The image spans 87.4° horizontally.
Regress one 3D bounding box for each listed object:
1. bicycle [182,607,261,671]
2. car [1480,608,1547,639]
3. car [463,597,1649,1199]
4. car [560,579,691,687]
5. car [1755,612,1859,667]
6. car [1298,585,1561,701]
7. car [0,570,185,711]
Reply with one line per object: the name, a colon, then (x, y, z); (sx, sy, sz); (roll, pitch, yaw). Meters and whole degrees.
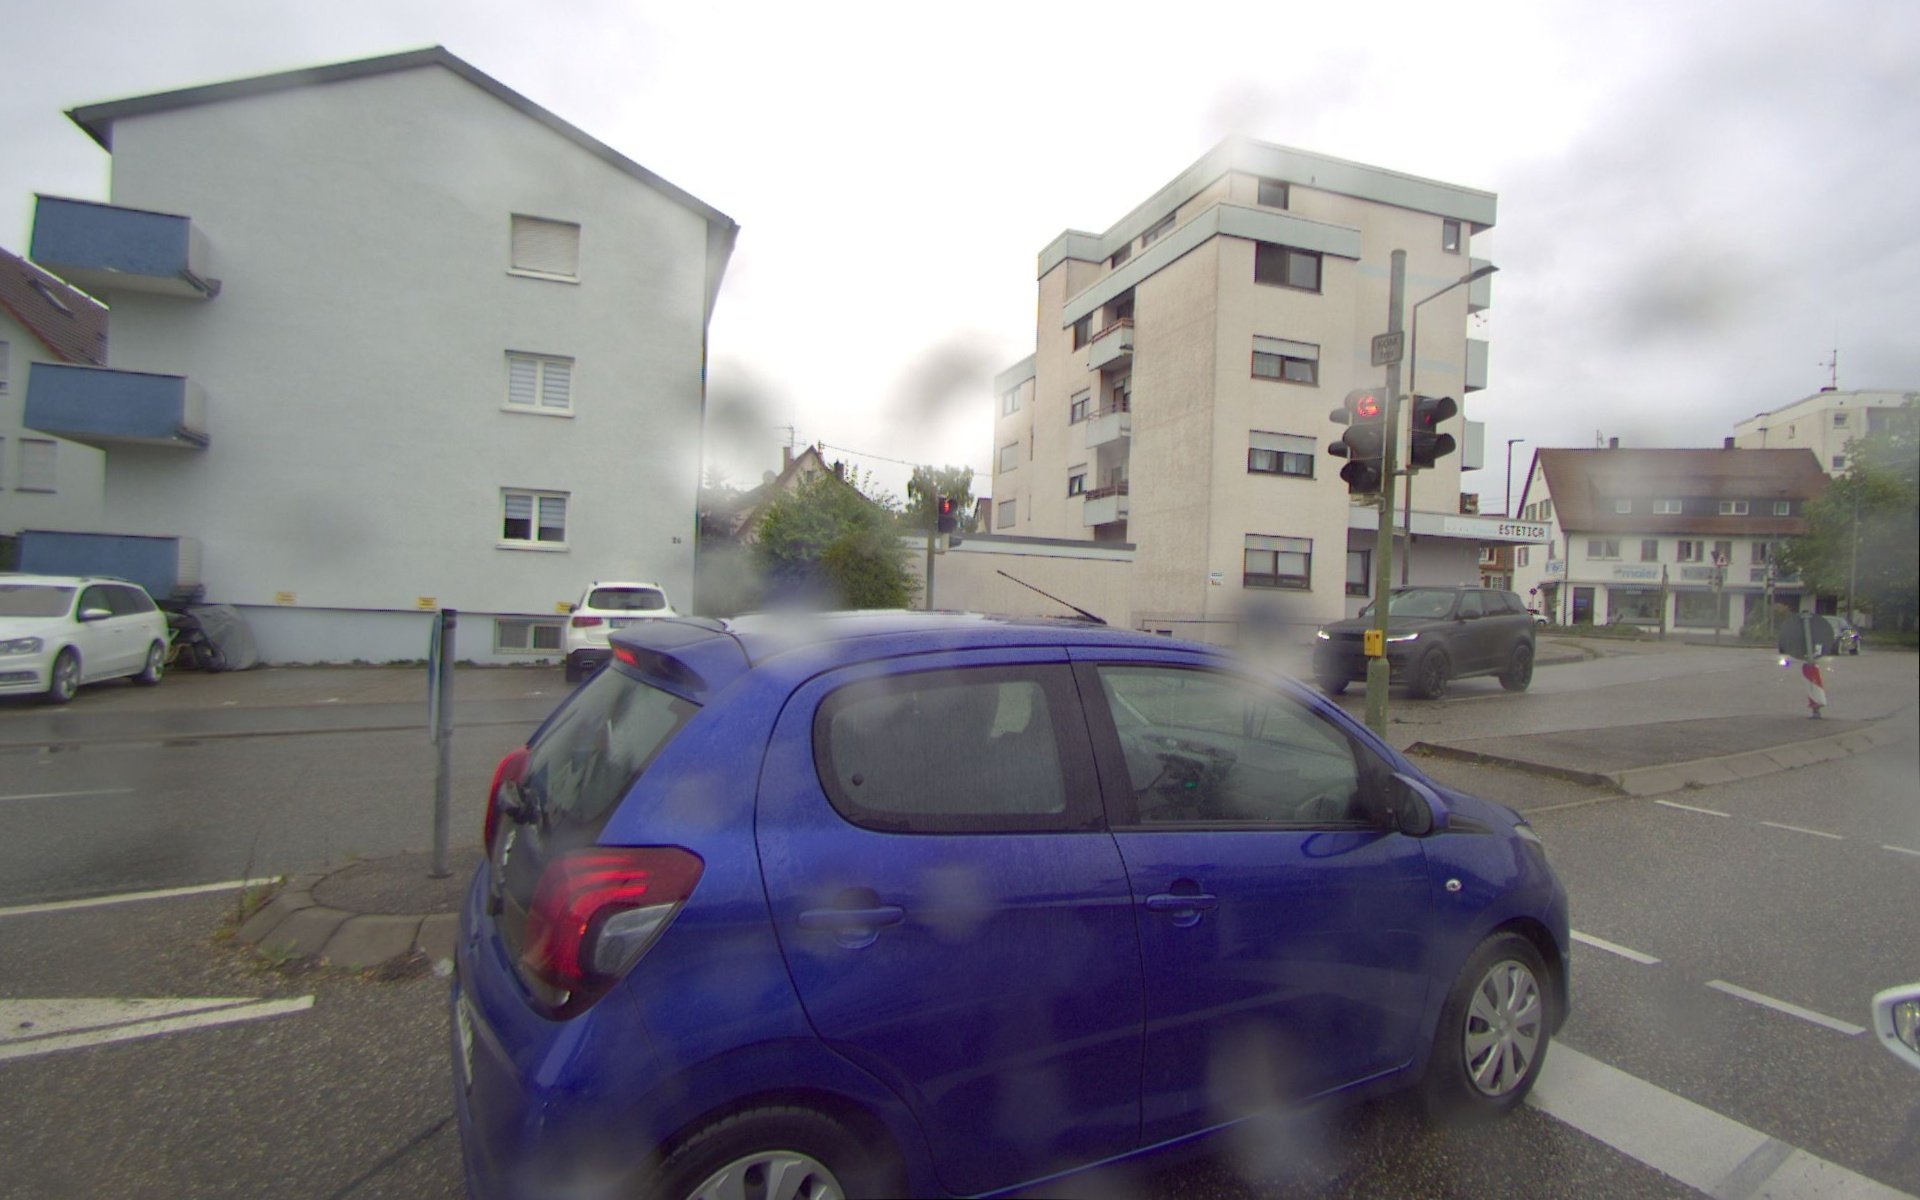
bicycle: (-12.758, 0.670, 17.367); (1.053, 1.067, 0.345); (1, 1, -30)
car: (37.871, 1.574, 68.825); (3.611, 1.946, 1.889); (2, 0, 14)
car: (0.399, 0.751, 3.042); (3.324, 1.432, 1.498); (1, 0, -30)
car: (-5.827, 0.524, 17.520); (1.884, 1.637, 3.983); (2, 0, -19)
car: (31.612, 1.472, 37.487); (3.960, 1.929, 1.981); (2, 0, -35)
car: (8.361, 0.727, 17.680); (5.133, 1.760, 1.979); (2, 0, -37)
car: (-11.546, 0.432, 12.452); (1.854, 1.480, 4.732); (1, -1, -23)
